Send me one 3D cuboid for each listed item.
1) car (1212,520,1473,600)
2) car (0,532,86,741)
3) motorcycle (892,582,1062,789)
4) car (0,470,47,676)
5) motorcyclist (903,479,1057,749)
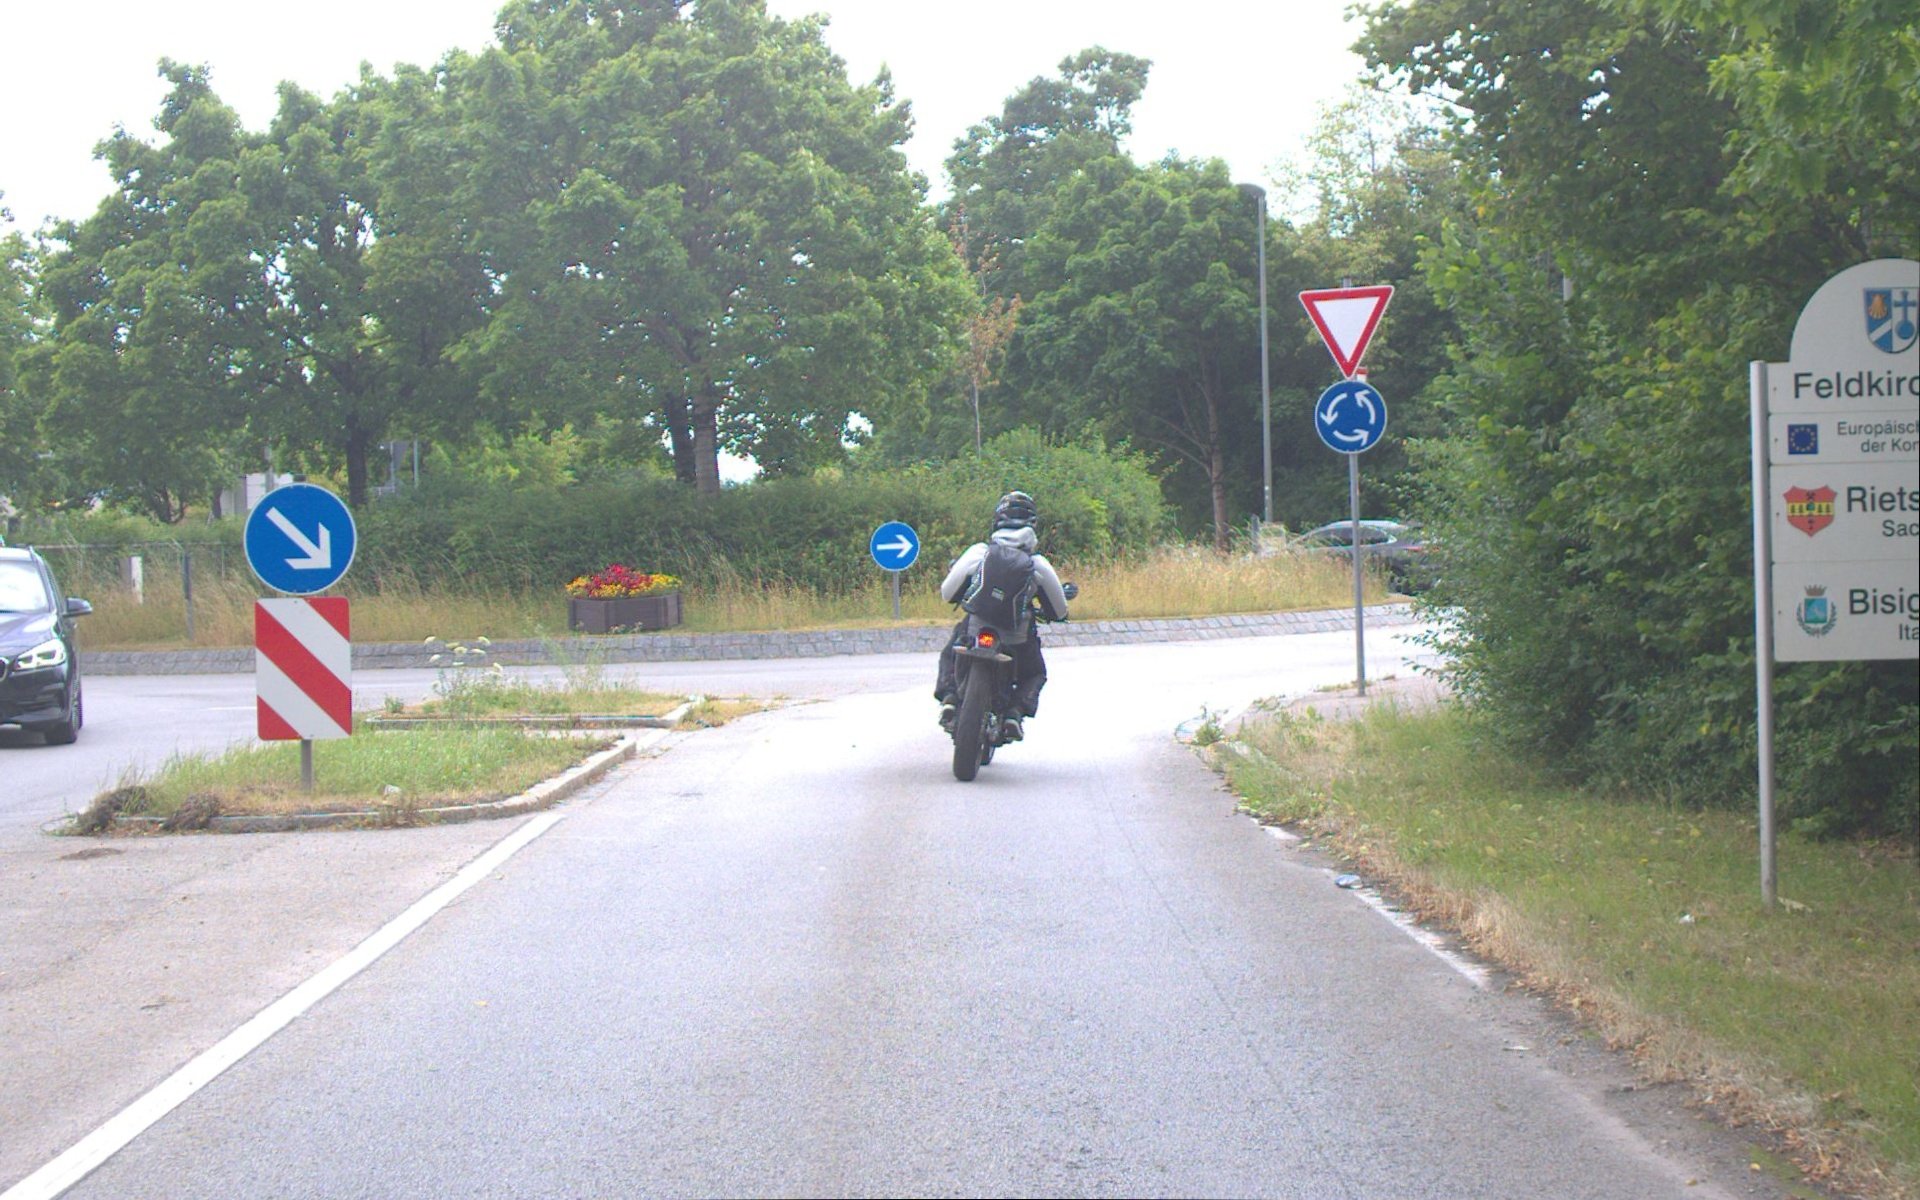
[{"bbox_3d":[6.617,-0.691,59.543,3.994,1.251,1.997,-1,1,31],"label":"car"},{"bbox_3d":[-8.214,0.307,28.408,1.737,1.580,4.357,-3,1,-13],"label":"car"},{"bbox_3d":[0.140,0.491,21.321,0.896,1.154,2.620,-1,1,3],"label":"motorcycle"},{"bbox_3d":[-13.256,-0.324,43.236,2.162,2.443,5.443,-2,2,-28],"label":"car"},{"bbox_3d":[0.138,0.076,21.362,0.861,1.618,1.190,-1,1,4],"label":"motorcyclist"}]
